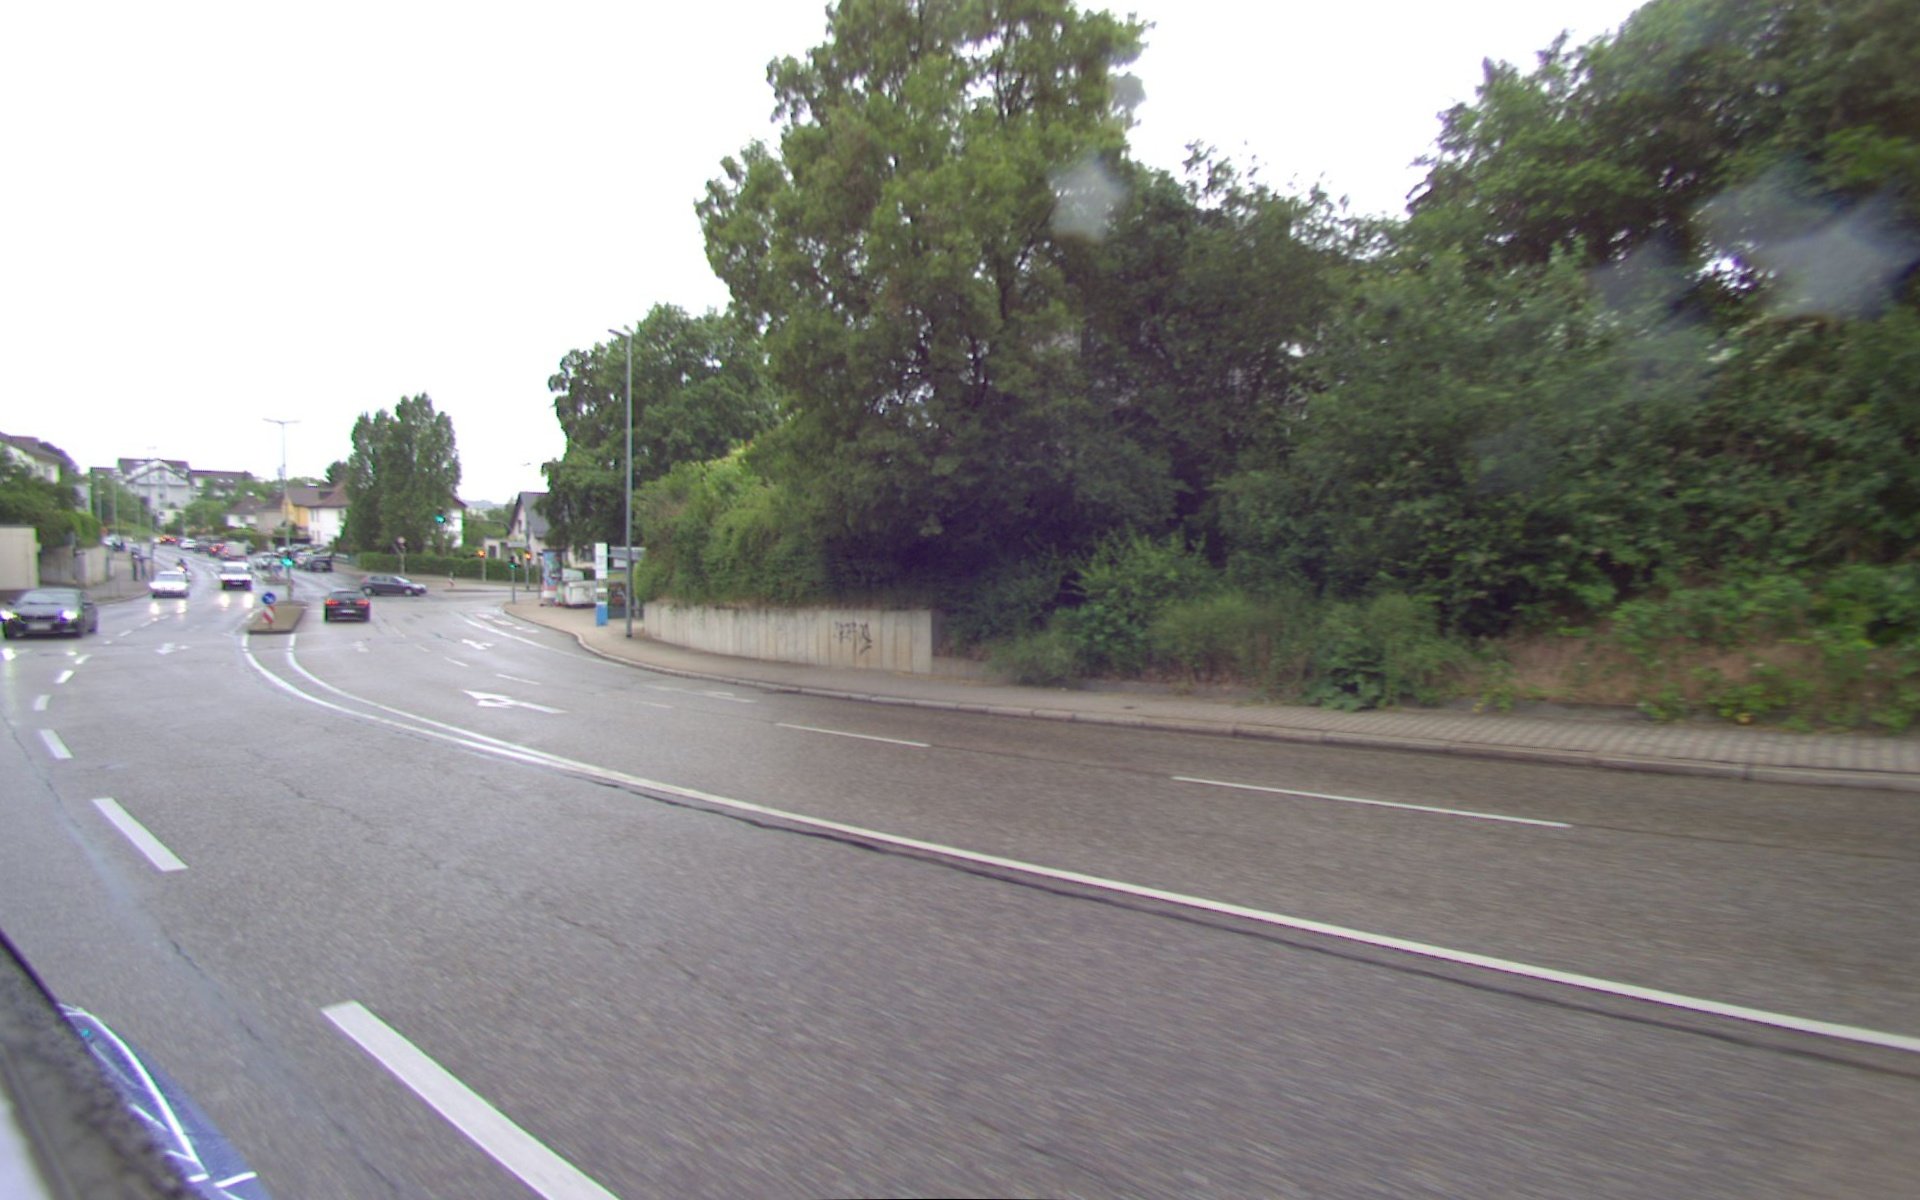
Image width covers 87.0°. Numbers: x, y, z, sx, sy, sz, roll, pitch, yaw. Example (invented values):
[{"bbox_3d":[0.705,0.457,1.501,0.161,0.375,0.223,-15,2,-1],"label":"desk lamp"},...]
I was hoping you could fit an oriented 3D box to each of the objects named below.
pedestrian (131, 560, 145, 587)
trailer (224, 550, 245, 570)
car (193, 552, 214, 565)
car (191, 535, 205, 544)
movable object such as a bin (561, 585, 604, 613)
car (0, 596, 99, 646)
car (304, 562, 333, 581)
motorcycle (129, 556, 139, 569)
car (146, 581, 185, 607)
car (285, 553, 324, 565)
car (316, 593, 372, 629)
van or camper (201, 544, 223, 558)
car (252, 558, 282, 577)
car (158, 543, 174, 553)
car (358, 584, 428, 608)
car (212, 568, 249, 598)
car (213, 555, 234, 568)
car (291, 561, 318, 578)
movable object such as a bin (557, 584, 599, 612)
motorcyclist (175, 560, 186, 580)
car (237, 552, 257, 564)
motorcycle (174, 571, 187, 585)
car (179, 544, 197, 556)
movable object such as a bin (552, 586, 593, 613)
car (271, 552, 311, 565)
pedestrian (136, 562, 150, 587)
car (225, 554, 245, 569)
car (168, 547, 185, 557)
[{"bbox_3d":[-62.128,-1.988,76.513,0.786,2.028,0.736,0,4,-36],"label":"pedestrian"},{"bbox_3d":[-82.911,-4.595,115.690,1.871,2.195,4.046,0,3,-35],"label":"trailer"},{"bbox_3d":[-102.894,-5.632,137.626,1.969,1.585,4.008,0,4,-40],"label":"car"},{"bbox_3d":[-149.655,-11.936,198.693,1.969,1.585,4.006,-1,4,-42],"label":"car"},{"bbox_3d":[-21.299,-0.075,57.130,2.029,1.526,1.348,0,1,-31],"label":"movable object such as a bin"},{"bbox_3d":[-28.944,0.638,32.265,1.811,1.468,4.011,0,0,-34],"label":"car"},{"bbox_3d":[-64.614,-2.878,101.875,1.783,1.681,4.606,-1,4,-42],"label":"car"},{"bbox_3d":[-89.666,-4.107,109.897,0.684,1.334,2.482,0,3,-43],"label":"motorcycle"},{"bbox_3d":[-49.625,-0.396,63.207,1.813,1.492,4.008,0,2,-39],"label":"car"},{"bbox_3d":[-86.570,-5.404,133.687,4.049,1.430,1.887,-3,5,-42],"label":"car"},{"bbox_3d":[-27.669,0.469,45.389,1.867,1.498,4.245,1,1,-35],"label":"car"},{"bbox_3d":[-115.634,-7.557,156.350,2.158,2.028,5.141,-1,4,-43],"label":"van or camper"},{"bbox_3d":[-70.275,-3.312,102.602,1.802,1.669,4.471,0,3,-43],"label":"car"},{"bbox_3d":[-129.389,-8.477,164.895,1.691,1.513,4.005,-1,4,-43],"label":"car"},{"bbox_3d":[-40.034,-0.286,71.534,3.991,1.498,1.846,1,3,-13],"label":"car"},{"bbox_3d":[-52.677,-1.245,73.013,1.926,1.884,4.756,0,3,-39],"label":"car"},{"bbox_3d":[-92.612,-4.834,127.298,1.818,1.563,4.392,1,3,-40],"label":"car"},{"bbox_3d":[-68.952,-3.245,106.390,1.783,1.580,4.149,-1,4,-42],"label":"car"},{"bbox_3d":[-22.069,-0.110,58.418,2.029,1.580,1.586,0,1,-31],"label":"movable object such as a bin"},{"bbox_3d":[-63.933,-2.469,83.018,0.750,1.614,0.810,0,4,-37],"label":"motorcyclist"},{"bbox_3d":[-96.726,-5.676,137.248,1.783,1.426,4.006,0,3,-42],"label":"car"},{"bbox_3d":[-63.938,-1.825,83.018,0.751,0.959,2.448,0,4,-37],"label":"motorcycle"},{"bbox_3d":[-113.150,-7.349,148.320,1.813,1.567,4.780,0,4,-40],"label":"car"},{"bbox_3d":[-22.909,-0.025,59.786,2.029,1.580,1.586,0,1,-31],"label":"movable object such as a bin"},{"bbox_3d":[-91.003,-5.627,137.665,1.840,1.495,4.056,3,-1,41],"label":"car"},{"bbox_3d":[-62.928,-1.969,77.954,0.783,1.793,1.014,1,3,-36],"label":"pedestrian"},{"bbox_3d":[-85.399,-4.544,119.173,1.874,1.695,4.491,0,2,-35],"label":"car"},{"bbox_3d":[-123.186,-7.593,159.115,1.831,1.475,4.005,-1,4,-43],"label":"car"}]
